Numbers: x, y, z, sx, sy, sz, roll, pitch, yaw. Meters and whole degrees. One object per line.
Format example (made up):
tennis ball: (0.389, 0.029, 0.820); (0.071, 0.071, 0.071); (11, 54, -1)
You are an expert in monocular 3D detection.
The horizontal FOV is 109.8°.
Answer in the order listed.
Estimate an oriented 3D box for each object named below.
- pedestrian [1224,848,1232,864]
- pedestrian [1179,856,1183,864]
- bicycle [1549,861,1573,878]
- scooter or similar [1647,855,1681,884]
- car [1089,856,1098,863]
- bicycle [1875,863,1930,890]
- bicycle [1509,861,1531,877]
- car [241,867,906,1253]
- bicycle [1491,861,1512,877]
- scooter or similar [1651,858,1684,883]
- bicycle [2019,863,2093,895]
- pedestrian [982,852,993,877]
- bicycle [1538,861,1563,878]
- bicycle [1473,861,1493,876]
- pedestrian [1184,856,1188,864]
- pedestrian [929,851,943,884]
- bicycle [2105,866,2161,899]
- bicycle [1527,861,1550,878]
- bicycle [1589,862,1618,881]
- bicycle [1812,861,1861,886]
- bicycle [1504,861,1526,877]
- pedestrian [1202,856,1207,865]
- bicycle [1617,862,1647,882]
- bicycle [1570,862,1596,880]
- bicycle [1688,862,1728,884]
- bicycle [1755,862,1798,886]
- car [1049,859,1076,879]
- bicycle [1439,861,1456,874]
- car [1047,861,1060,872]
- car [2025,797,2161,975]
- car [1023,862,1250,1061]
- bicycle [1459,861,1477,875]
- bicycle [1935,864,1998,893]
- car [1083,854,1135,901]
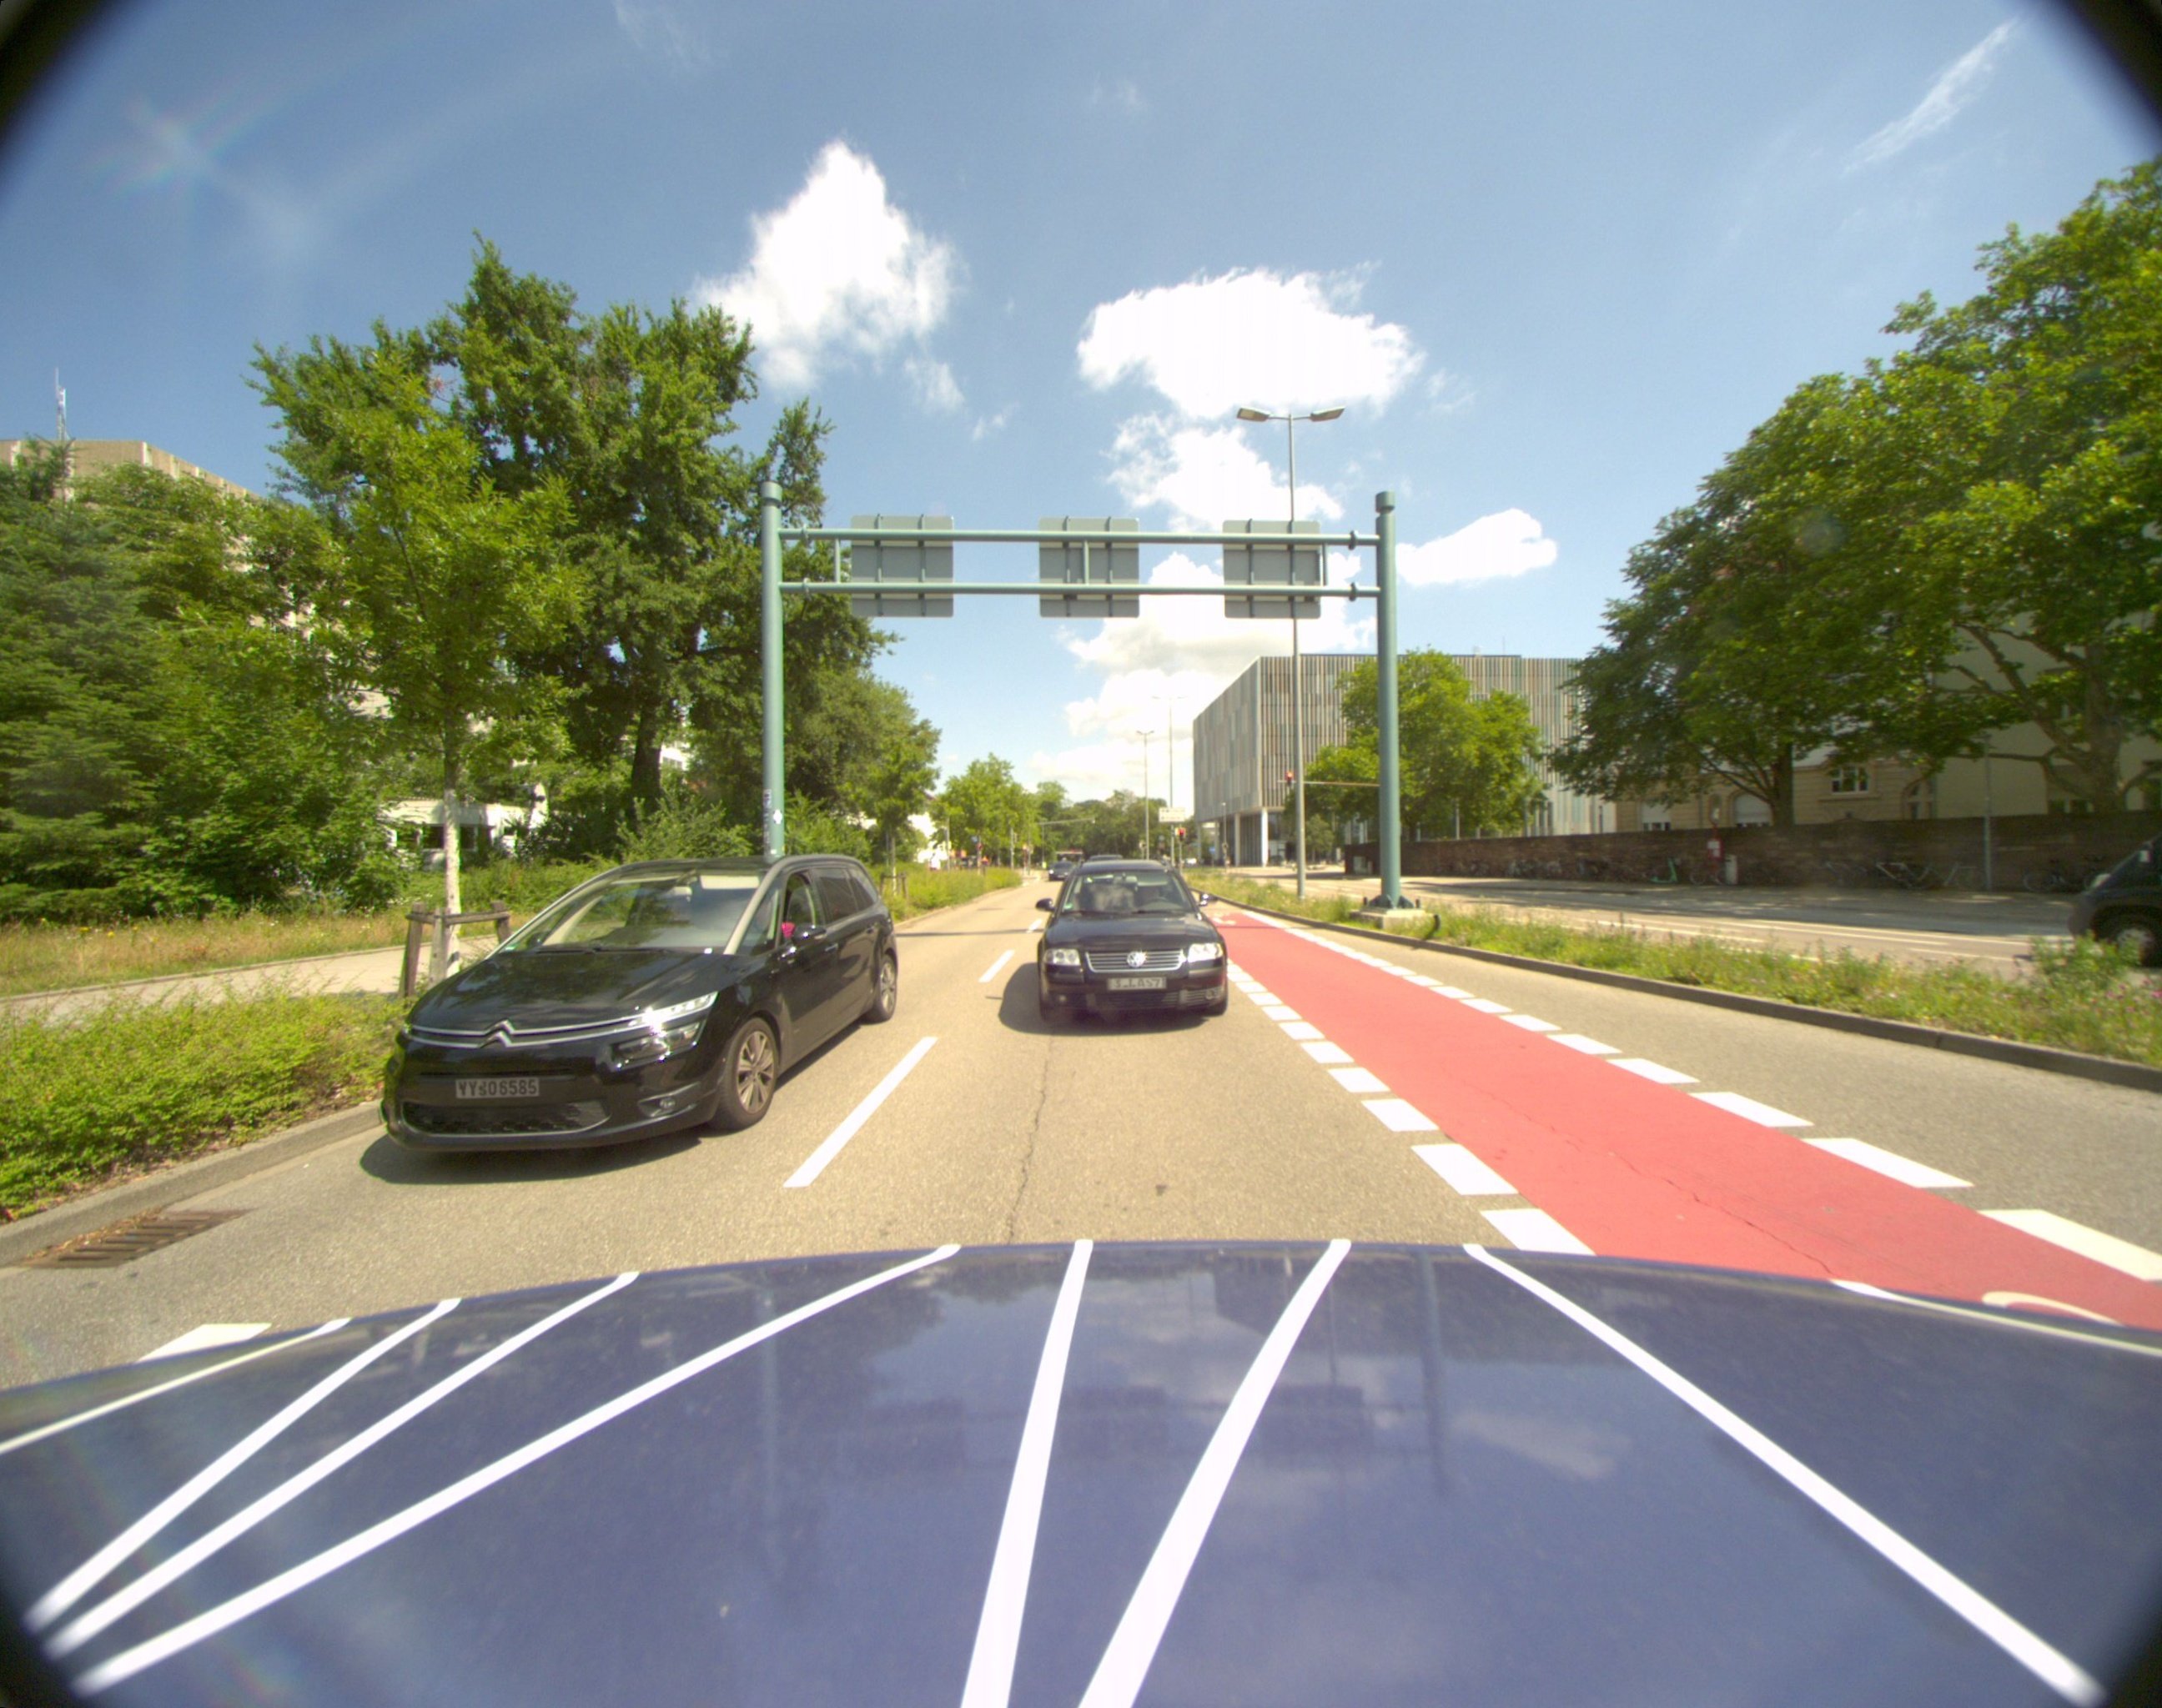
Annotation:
pedestrian: (18.916, 0.253, 97.624); (0.864, 2.002, 0.995); (-1, 0, -1)
pedestrian: (17.059, 1.049, 129.249); (0.696, 1.445, 0.689); (-1, 0, 5)
bicycle: (23.663, 0.752, 37.473); (0.265, 0.826, 1.235); (-1, 0, -11)
scooter or similar: (23.852, 0.626, 31.091); (0.265, 1.182, 1.234); (-1, 0, -11)
car: (3.023, 1.304, 178.646); (1.758, 1.581, 4.275); (-1, 0, -4)
bicycle: (25.976, 0.703, 24.043); (0.265, 0.826, 1.235); (-1, 0, -11)
bicycle: (23.359, 0.794, 40.413); (0.265, 0.826, 1.234); (-1, 0, -11)
car: (-2.790, 0.964, 5.639); (1.816, 1.598, 4.479); (-3, 0, 1)
bicycle: (23.153, 0.822, 41.808); (0.265, 0.826, 1.234); (-1, 0, -11)
scooter or similar: (24.575, 0.696, 31.855); (0.266, 1.014, 1.140); (-1, 0, -22)
bicycle: (26.633, 0.671, 20.777); (0.265, 0.826, 1.234); (-1, 0, -13)
pedestrian: (-6.574, 0.716, 53.285); (0.640, 1.754, 0.885); (-1, 0, -11)
bicycle: (23.185, 0.753, 37.531); (0.265, 0.826, 1.234); (-1, 0, -11)
bicycle: (22.978, 0.802, 43.445); (0.265, 0.826, 1.234); (-1, 0, -11)
pedestrian: (17.949, 1.007, 129.919); (0.696, 1.445, 0.689); (-1, 0, 5)
pedestrian: (-9.100, 0.821, 47.706); (0.846, 2.026, 0.901); (-1, 0, -10)
bicycle: (27.129, 0.722, 19.351); (0.265, 0.826, 1.234); (-1, 0, -13)
bicycle: (23.468, 0.791, 39.002); (0.265, 0.826, 1.235); (-1, 0, -11)
bicycle: (23.937, 0.787, 34.823); (0.265, 0.826, 1.235); (-1, 0, -11)
bicycle: (25.684, 0.652, 25.856); (0.265, 0.826, 1.235); (-1, 0, -11)
bicycle: (22.896, 0.799, 40.098); (0.265, 0.826, 1.234); (-1, 0, -11)
pedestrian: (19.311, 0.992, 119.057); (0.696, 1.445, 0.689); (-1, 0, 5)
bicycle: (24.156, 0.774, 33.328); (0.265, 0.826, 1.235); (-1, 0, -11)
bicycle: (23.872, 0.783, 36.151); (0.265, 0.826, 1.235); (-1, 0, -11)
bicycle: (24.819, 0.743, 30.085); (0.265, 0.826, 1.233); (-1, 0, -21)
bicycle: (25.189, 0.710, 27.525); (0.265, 0.826, 1.235); (-1, 0, -11)
car: (-1.315, 1.084, 56.355); (1.806, 1.361, 4.157); (-1, 1, 1)
bicycle: (22.489, 0.827, 46.654); (0.265, 0.826, 1.235); (-1, 0, -11)
car: (-4.332, 1.962, 122.136); (1.816, 1.598, 4.479); (-3, 0, 1)
car: (14.210, 0.402, 8.039); (2.153, 2.162, 5.018); (1, 0, 0)
car: (0.470, 0.871, 8.283); (1.723, 1.472, 4.594); (-3, 0, 1)
bicycle: (22.806, 0.810, 44.758); (0.265, 0.826, 1.235); (-1, 0, -11)
bicycle: (26.243, 0.724, 22.534); (0.265, 0.826, 1.235); (-1, 0, -11)
car: (0.982, 0.807, 28.381); (1.723, 1.545, 4.594); (-3, 0, 1)
